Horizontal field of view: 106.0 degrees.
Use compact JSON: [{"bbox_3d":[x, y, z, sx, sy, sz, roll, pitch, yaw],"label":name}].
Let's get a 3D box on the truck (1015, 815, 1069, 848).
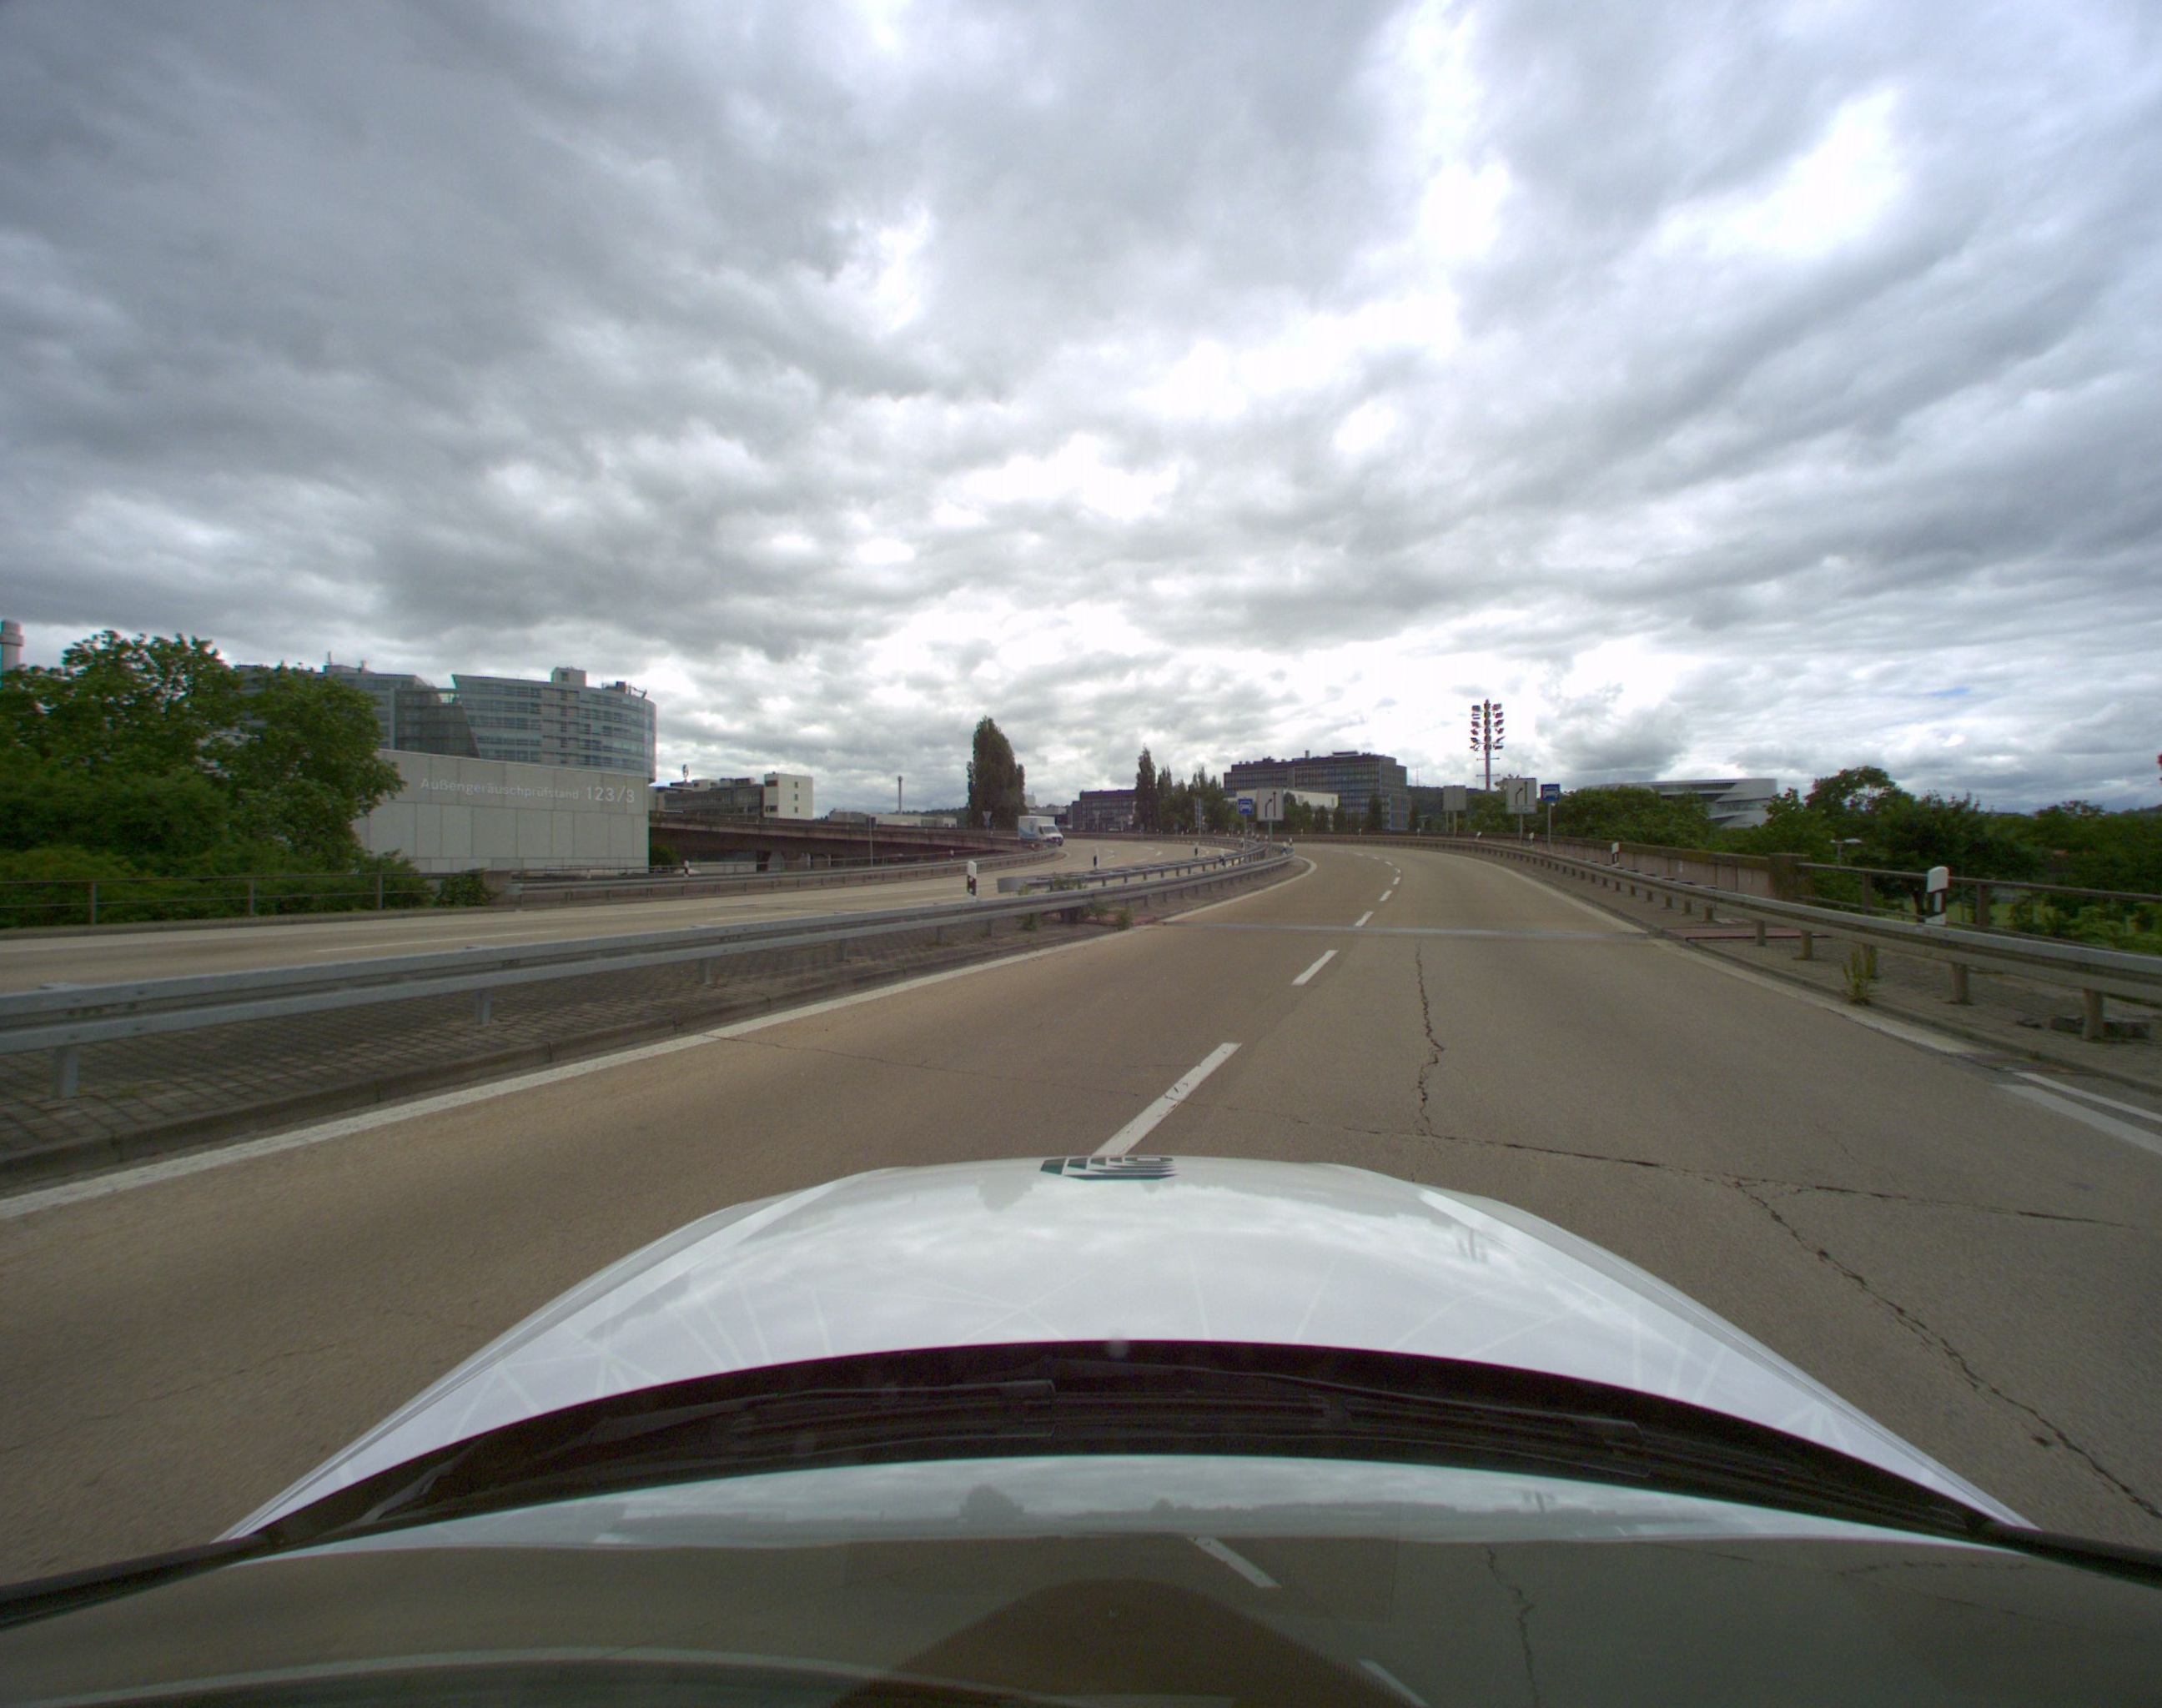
[{"bbox_3d":[-4.139,-2.405,84.574,2.362,3.262,6.924,1,2,-33],"label":"truck"}]
